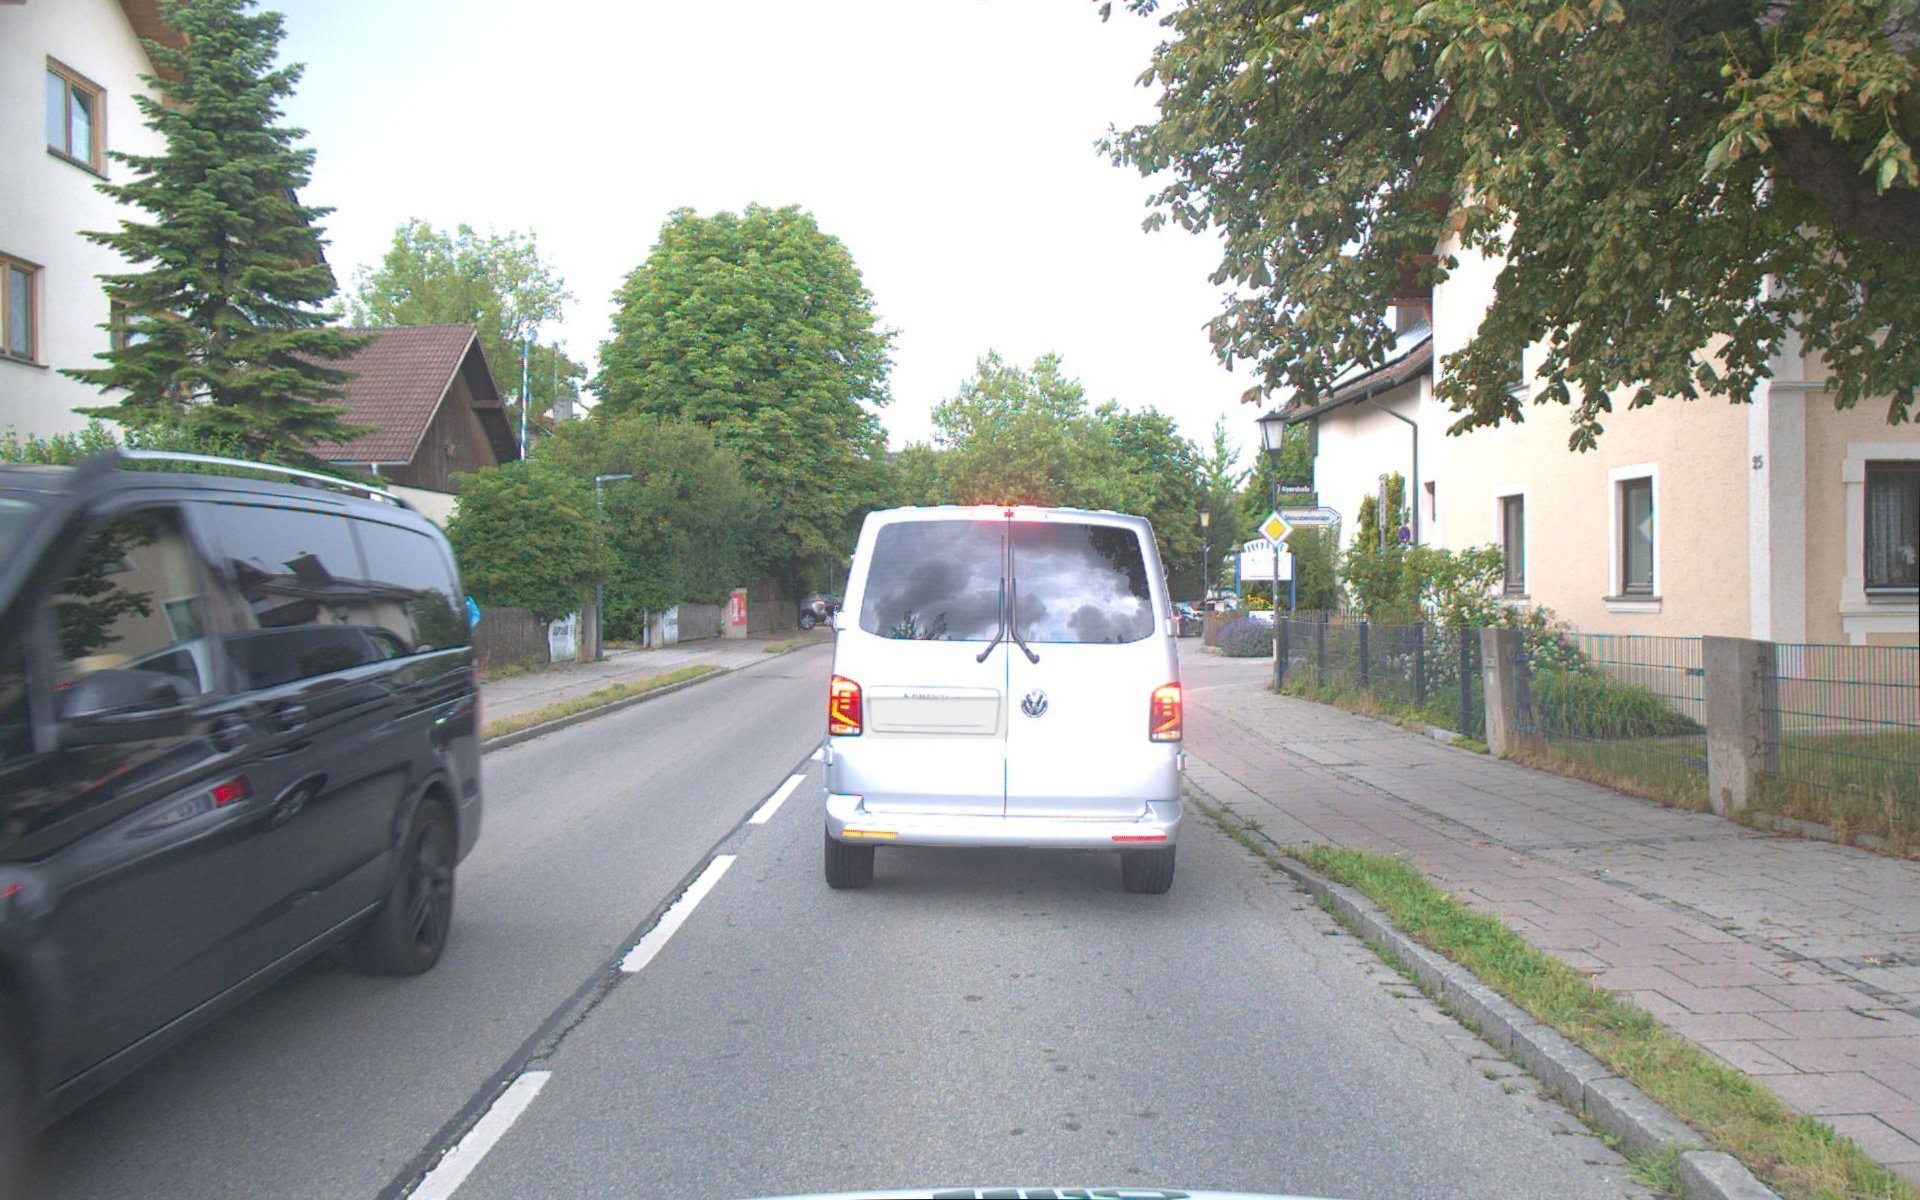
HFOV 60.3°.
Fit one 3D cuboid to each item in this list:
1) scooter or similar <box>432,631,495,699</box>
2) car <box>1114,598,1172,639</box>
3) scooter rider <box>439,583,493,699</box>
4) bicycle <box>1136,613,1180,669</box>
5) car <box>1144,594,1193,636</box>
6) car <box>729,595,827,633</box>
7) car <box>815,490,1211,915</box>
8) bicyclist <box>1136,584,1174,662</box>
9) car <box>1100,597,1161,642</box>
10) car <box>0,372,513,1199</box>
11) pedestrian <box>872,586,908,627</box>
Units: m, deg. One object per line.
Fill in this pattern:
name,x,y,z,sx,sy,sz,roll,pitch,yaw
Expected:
scooter or similar,-6.624,0.858,22.108,0.511,0.865,1.061,0,0,0
car,7.292,0.701,65.578,1.841,1.562,3.924,0,0,13
scooter rider,-6.599,0.536,22.122,0.492,1.515,0.716,0,0,0
bicycle,4.270,0.866,35.821,0.749,1.163,1.845,0,0,1
car,9.198,0.652,72.754,1.841,1.779,4.084,0,0,12
car,-7.441,0.571,67.432,3.913,1.512,1.996,0,0,-9
car,0.257,0.476,9.663,1.842,1.974,3.920,0,0,0
bicyclist,4.218,0.492,35.822,0.721,1.661,0.890,0,0,1
car,6.193,0.671,59.826,1.841,1.562,3.924,0,0,11
car,-2.984,0.472,5.015,1.924,1.885,4.947,-1,0,0
pedestrian,-3.123,0.288,73.760,1.306,1.834,1.058,0,0,-32
